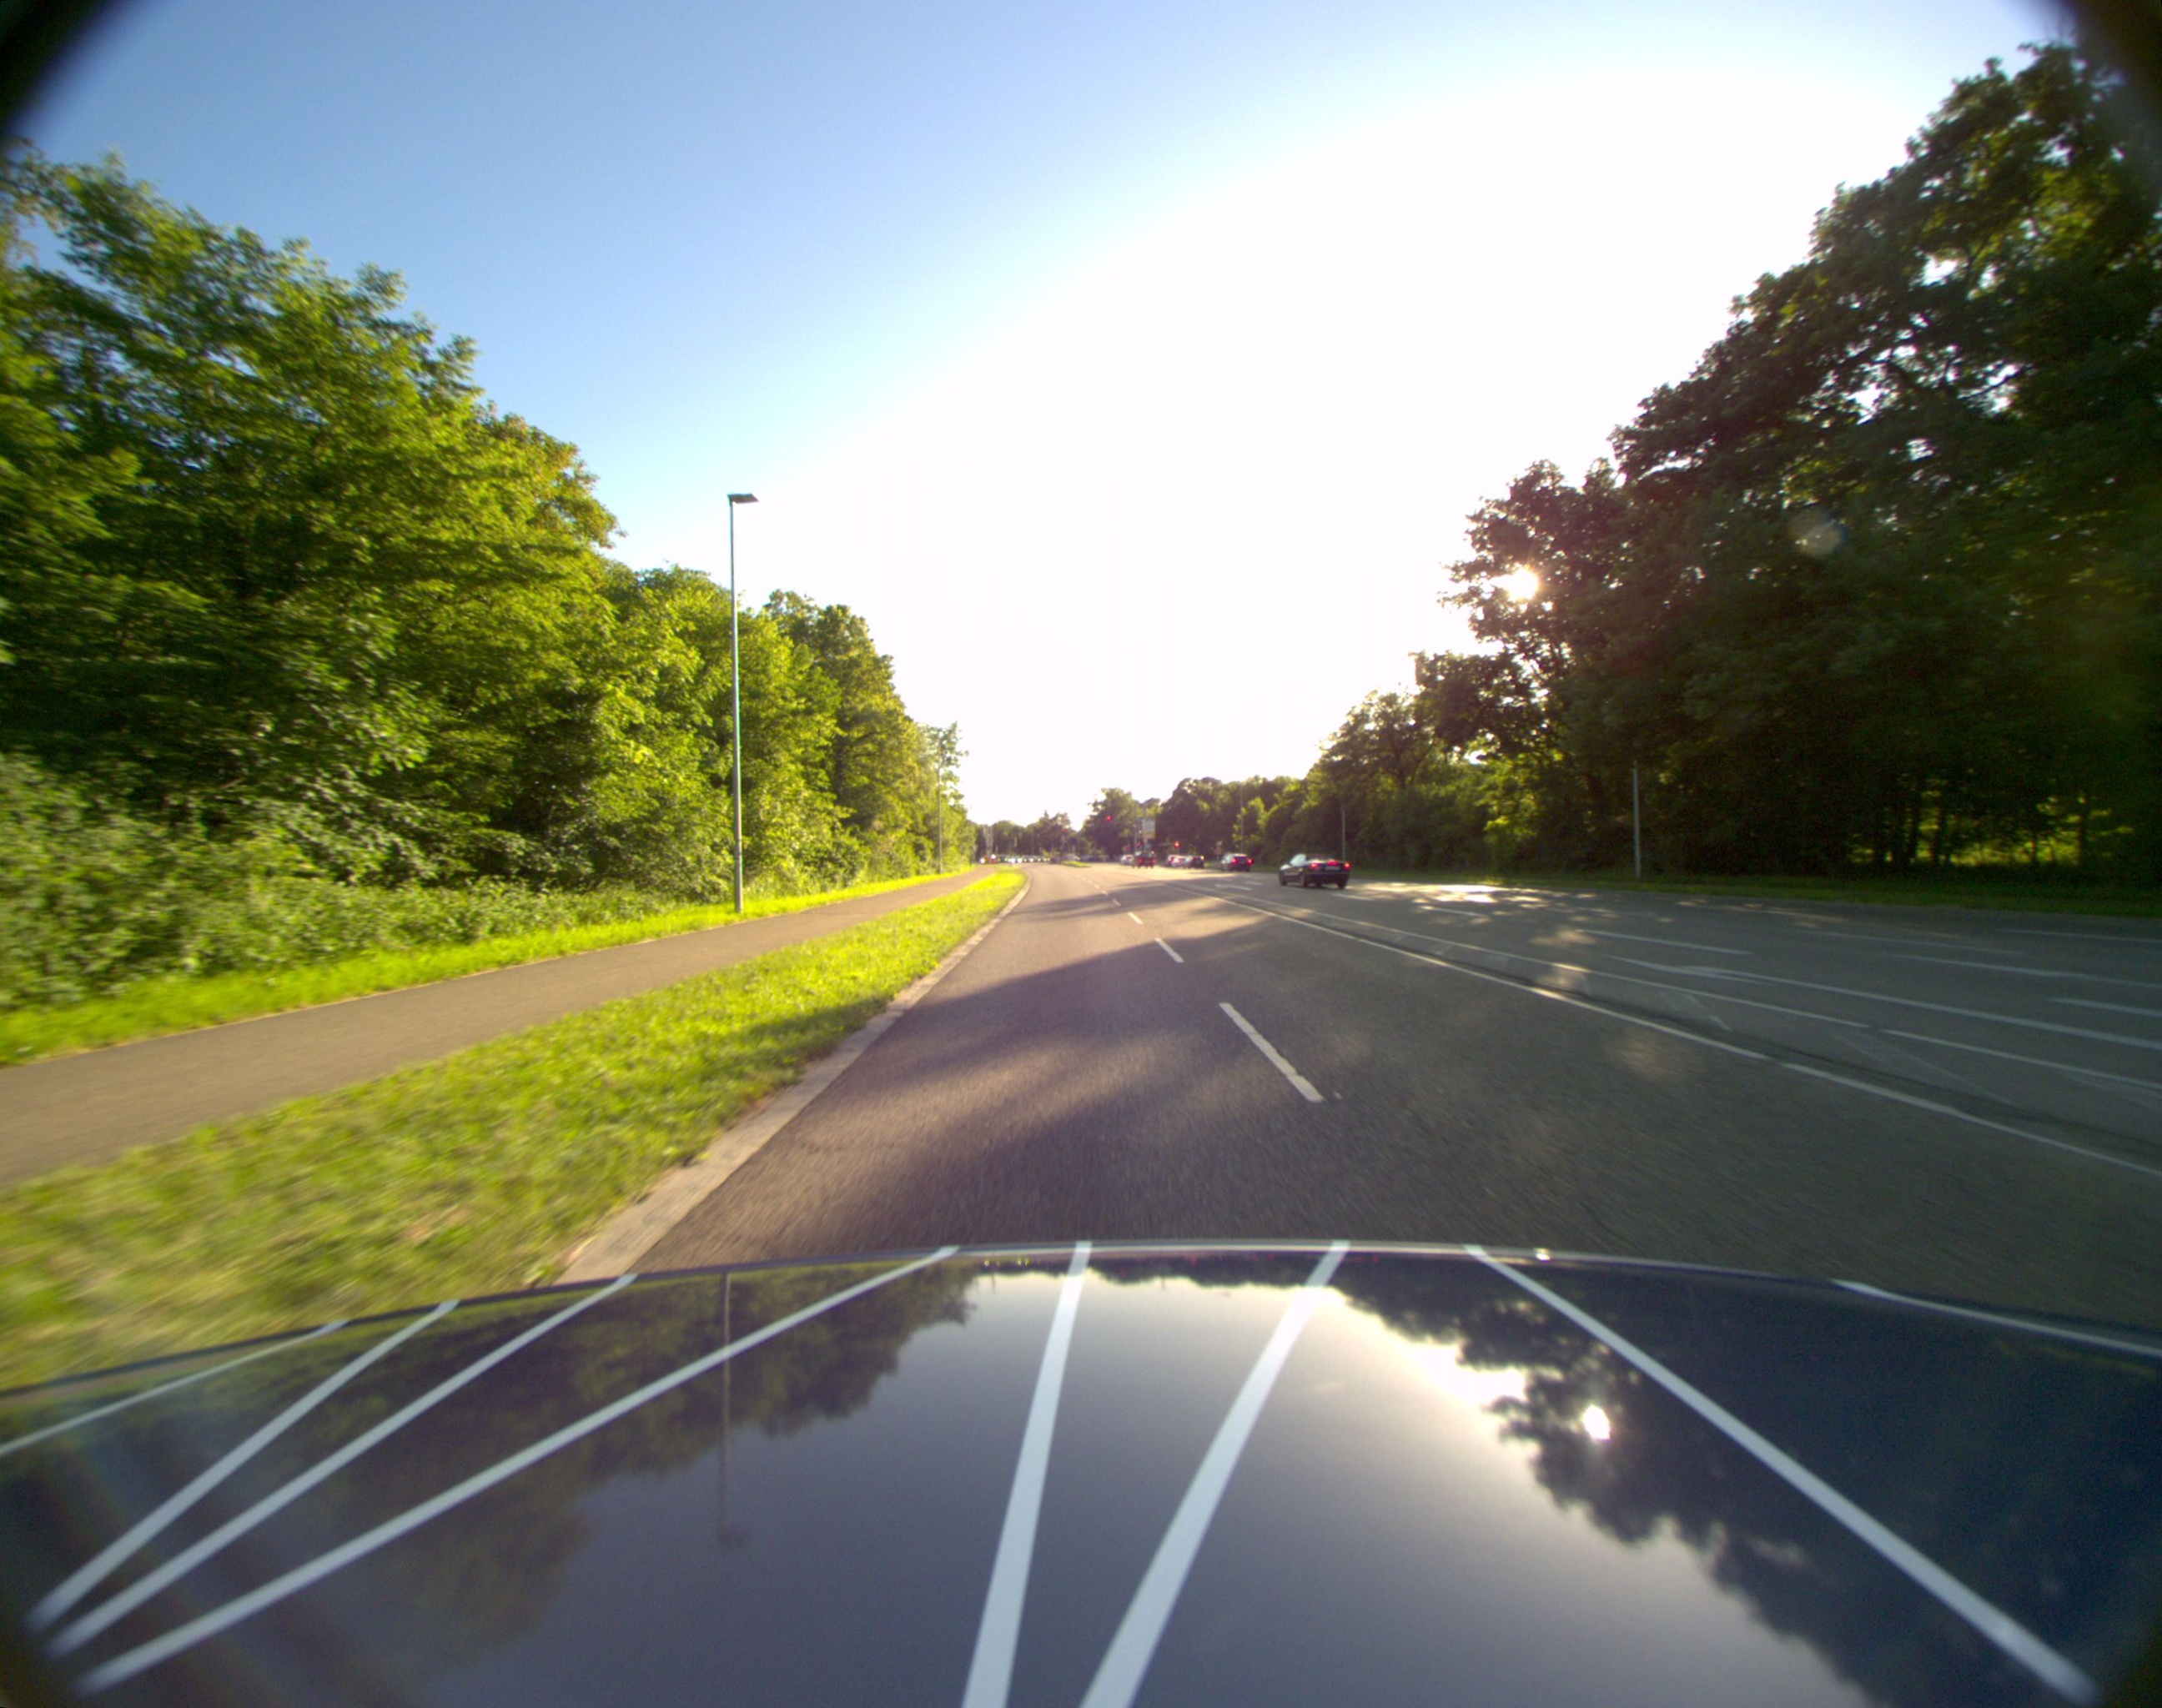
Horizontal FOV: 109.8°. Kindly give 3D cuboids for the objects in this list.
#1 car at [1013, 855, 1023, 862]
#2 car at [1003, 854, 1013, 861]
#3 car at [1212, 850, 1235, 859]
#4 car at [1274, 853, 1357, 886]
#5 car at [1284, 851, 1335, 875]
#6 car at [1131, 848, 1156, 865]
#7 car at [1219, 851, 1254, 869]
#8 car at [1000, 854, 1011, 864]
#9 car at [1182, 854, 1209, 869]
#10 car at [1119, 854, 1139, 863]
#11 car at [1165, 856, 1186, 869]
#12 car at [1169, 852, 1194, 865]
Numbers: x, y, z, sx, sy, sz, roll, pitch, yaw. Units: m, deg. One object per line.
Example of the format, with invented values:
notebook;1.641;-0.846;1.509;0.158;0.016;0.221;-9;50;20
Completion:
car;-13.860;1.025;166.763;2.000;1.510;3.996;-2;1;-9
car;-16.824;0.865;173.892;2.000;1.510;3.996;-2;1;-9
car;23.911;0.146;127.678;1.994;1.442;4.657;0;0;37
car;9.300;0.572;30.520;1.748;1.227;4.672;0;0;-2
car;15.365;0.568;51.267;1.999;1.555;4.337;0;0;-2
car;7.273;0.280;88.481;2.000;1.950;4.645;1;0;-7
car;14.599;0.547;71.532;1.999;1.627;4.842;-1;0;-4
car;-16.434;1.044;165.220;2.000;2.057;3.996;-2;1;-9
car;13.155;0.827;87.592;1.999;1.555;4.646;2;0;-4
car;7.326;0.674;115.905;2.000;1.442;4.838;1;0;-9
car;12.708;1.118;102.414;1.999;1.555;4.646;2;0;-4
car;12.557;0.567;95.507;2.000;1.555;4.645;2;0;-6
